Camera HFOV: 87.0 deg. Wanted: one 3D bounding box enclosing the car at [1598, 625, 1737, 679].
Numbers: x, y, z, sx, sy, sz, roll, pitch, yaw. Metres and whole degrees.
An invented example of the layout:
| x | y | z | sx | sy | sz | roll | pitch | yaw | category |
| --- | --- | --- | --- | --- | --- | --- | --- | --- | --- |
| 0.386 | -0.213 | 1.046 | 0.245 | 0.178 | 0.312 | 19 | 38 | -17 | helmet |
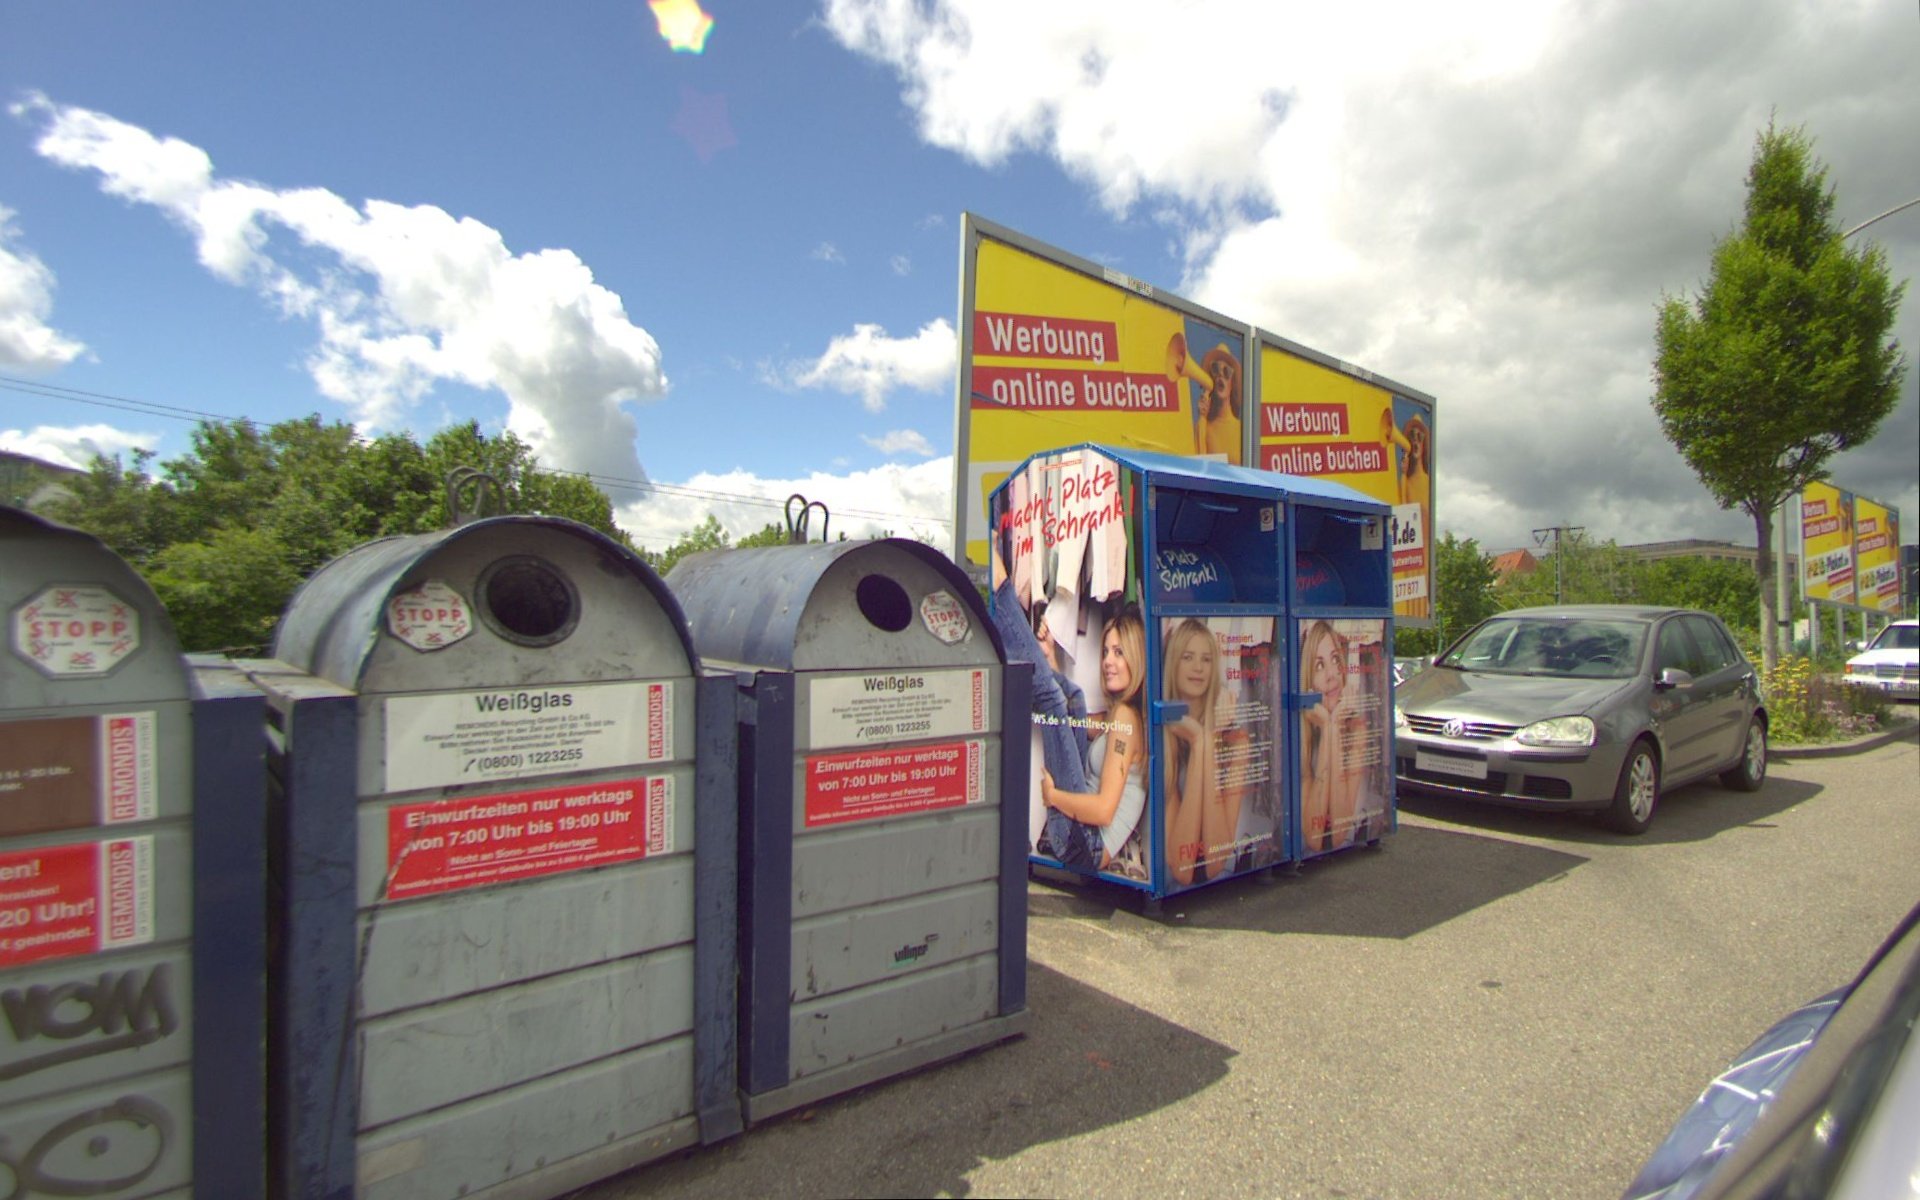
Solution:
| x | y | z | sx | sy | sz | roll | pitch | yaw | category |
| --- | --- | --- | --- | --- | --- | --- | --- | --- | --- |
| 21.746 | 1.559 | 31.070 | 4.465 | 1.460 | 1.823 | 0 | -1 | -31 | car |

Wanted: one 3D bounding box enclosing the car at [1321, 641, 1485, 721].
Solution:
| x | y | z | sx | sy | sz | roll | pitch | yaw | category |
| --- | --- | --- | --- | --- | --- | --- | --- | --- | --- |
| 10.860 | 1.922 | 25.136 | 1.606 | 1.661 | 4.007 | 0 | 0 | -14 | car |

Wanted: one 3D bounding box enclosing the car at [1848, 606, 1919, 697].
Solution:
| x | y | z | sx | sy | sz | roll | pitch | yaw | category |
| --- | --- | --- | --- | --- | --- | --- | --- | --- | --- |
| 16.511 | 0.793 | 16.806 | 4.123 | 1.405 | 1.643 | 0 | -1 | -34 | car |

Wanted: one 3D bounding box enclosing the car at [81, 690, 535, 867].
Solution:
| x | y | z | sx | sy | sz | roll | pitch | yaw | category |
| --- | --- | --- | --- | --- | --- | --- | --- | --- | --- |
| -7.061 | 1.881 | 11.485 | 4.067 | 1.465 | 1.702 | 0 | -2 | -25 | car |

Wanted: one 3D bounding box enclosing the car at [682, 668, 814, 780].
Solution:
| x | y | z | sx | sy | sz | roll | pitch | yaw | category |
| --- | --- | --- | --- | --- | --- | --- | --- | --- | --- |
| -3.385 | 1.941 | 16.807 | 1.703 | 1.371 | 4.042 | 0 | 0 | -5 | car |

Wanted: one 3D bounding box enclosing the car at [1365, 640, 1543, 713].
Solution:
| x | y | z | sx | sy | sz | roll | pitch | yaw | category |
| --- | --- | --- | --- | --- | --- | --- | --- | --- | --- |
| 12.879 | 1.924 | 26.646 | 1.756 | 1.618 | 4.006 | 0 | 0 | -25 | car |

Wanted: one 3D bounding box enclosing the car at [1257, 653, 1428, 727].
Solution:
| x | y | z | sx | sy | sz | roll | pitch | yaw | category |
| --- | --- | --- | --- | --- | --- | --- | --- | --- | --- |
| 8.974 | 2.053 | 24.106 | 1.630 | 1.399 | 4.008 | 0 | 0 | -18 | car |

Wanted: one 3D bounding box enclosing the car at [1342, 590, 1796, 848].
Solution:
| x | y | z | sx | sy | sz | roll | pitch | yaw | category |
| --- | --- | --- | --- | --- | --- | --- | --- | --- | --- |
| 4.820 | 0.686 | 7.812 | 3.970 | 1.504 | 1.660 | 0 | 1 | -37 | car |

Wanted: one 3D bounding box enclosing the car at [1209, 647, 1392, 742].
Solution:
| x | y | z | sx | sy | sz | roll | pitch | yaw | category |
| --- | --- | --- | --- | --- | --- | --- | --- | --- | --- |
| 7.173 | 1.938 | 21.782 | 1.681 | 1.656 | 4.008 | 0 | 0 | -17 | car |

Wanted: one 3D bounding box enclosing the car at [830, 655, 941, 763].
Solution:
| x | y | z | sx | sy | sz | roll | pitch | yaw | category |
| --- | --- | --- | --- | --- | --- | --- | --- | --- | --- |
| -1.475 | 1.910 | 18.731 | 1.751 | 1.560 | 4.005 | 0 | 0 | -8 | car |

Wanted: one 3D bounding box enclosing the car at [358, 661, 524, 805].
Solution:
| x | y | z | sx | sy | sz | roll | pitch | yaw | category |
| --- | --- | --- | --- | --- | --- | --- | --- | --- | --- |
| -7.802 | 1.855 | 15.458 | 1.959 | 1.574 | 4.468 | 0 | 0 | -25 | car |

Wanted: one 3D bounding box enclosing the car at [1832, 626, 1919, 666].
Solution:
| x | y | z | sx | sy | sz | roll | pitch | yaw | category |
| --- | --- | --- | --- | --- | --- | --- | --- | --- | --- |
| 35.836 | 1.740 | 39.165 | 4.465 | 1.369 | 1.823 | 0 | -1 | -31 | car |
